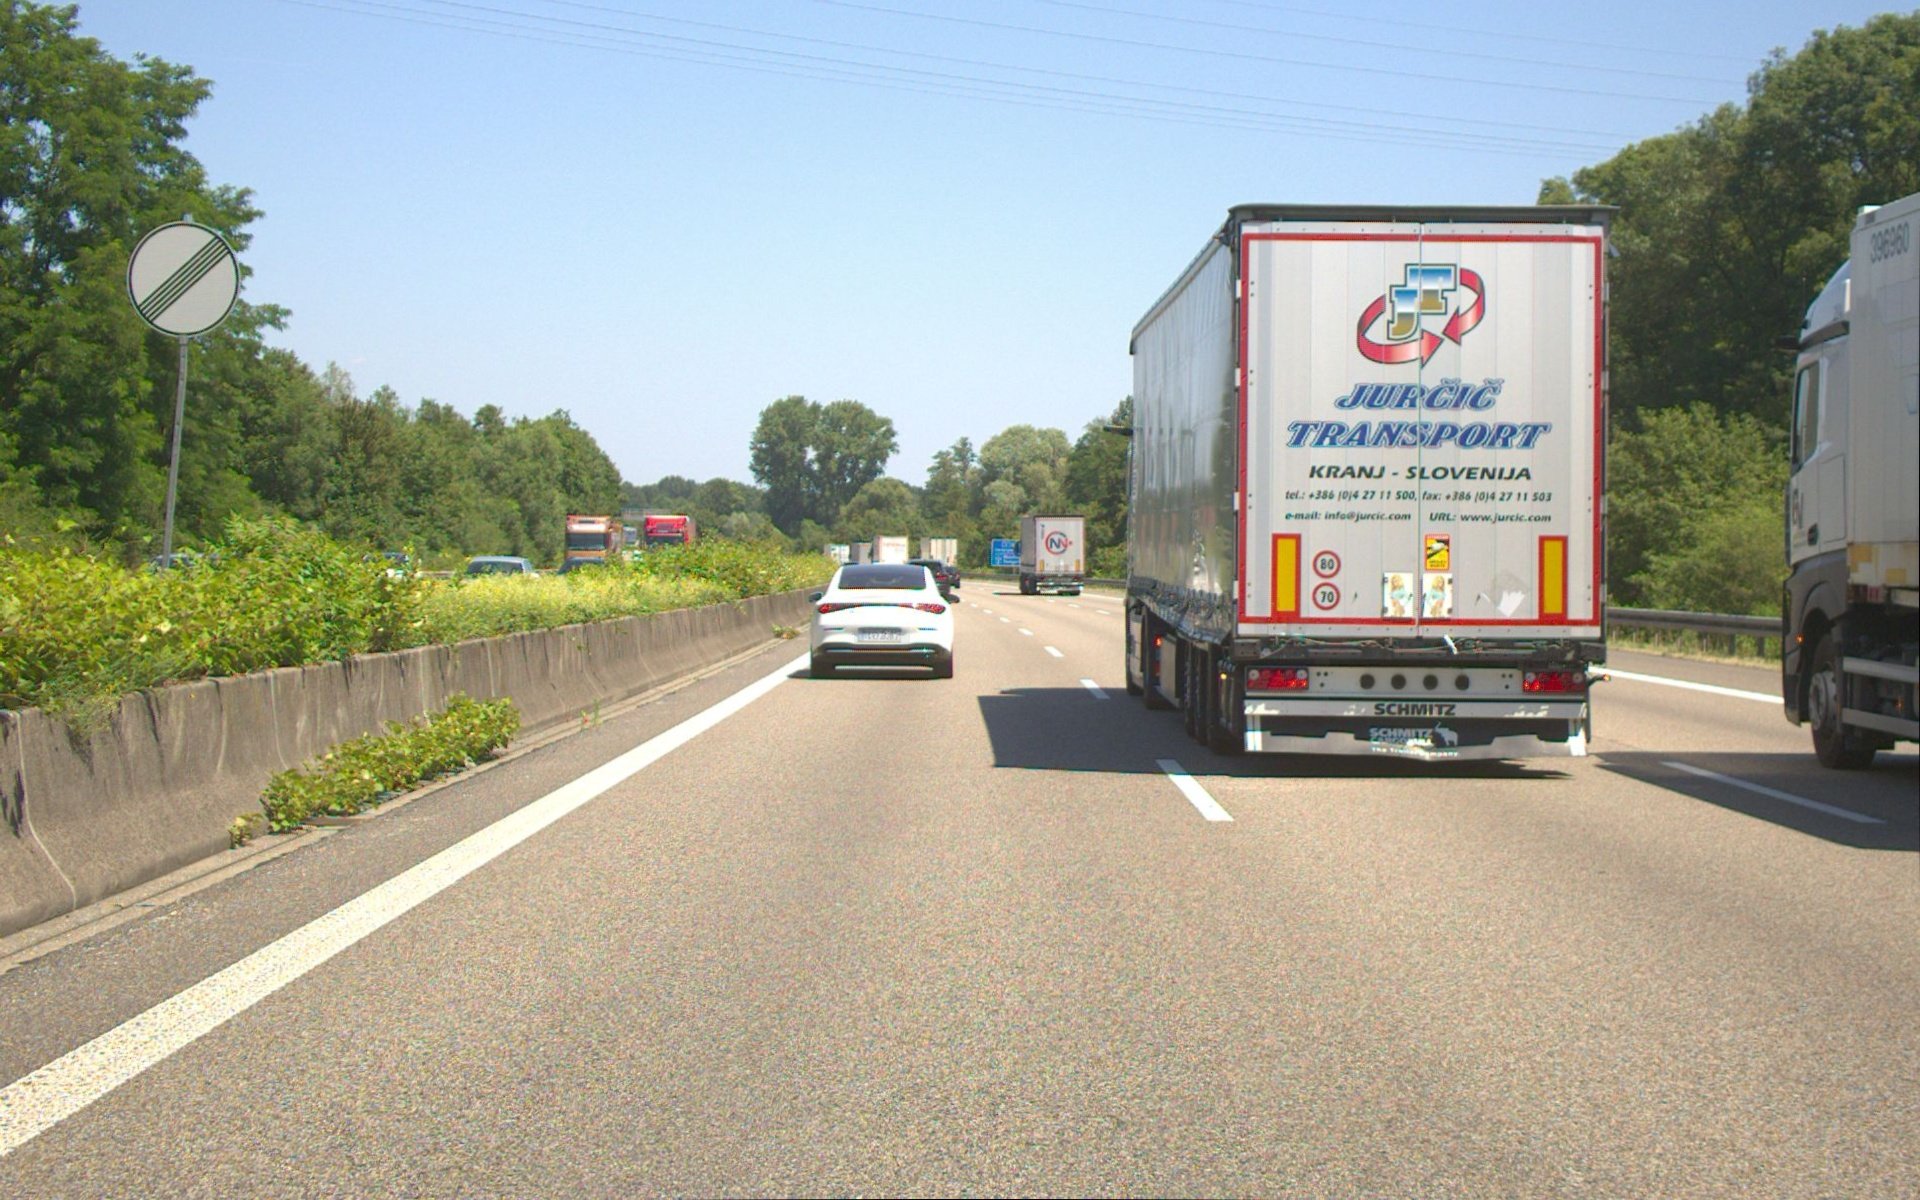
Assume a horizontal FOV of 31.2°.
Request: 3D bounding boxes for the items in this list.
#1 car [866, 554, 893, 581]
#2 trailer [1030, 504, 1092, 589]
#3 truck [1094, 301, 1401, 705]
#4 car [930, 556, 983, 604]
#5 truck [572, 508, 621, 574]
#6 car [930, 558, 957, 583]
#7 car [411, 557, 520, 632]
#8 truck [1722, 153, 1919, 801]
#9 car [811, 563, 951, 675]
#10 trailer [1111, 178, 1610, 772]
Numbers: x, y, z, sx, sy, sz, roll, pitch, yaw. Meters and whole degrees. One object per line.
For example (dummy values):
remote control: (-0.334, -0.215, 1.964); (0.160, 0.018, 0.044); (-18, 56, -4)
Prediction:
car: (-5.405, -2.168, 230.955); (1.723, 1.777, 4.000); (1, 1, -1)
trailer: (5.225, -2.758, 180.267); (2.624, 4.246, 14.061); (1, 1, -1)
truck: (2.979, -0.996, 37.320); (2.722, 3.961, 6.501); (1, 1, 0)
car: (-0.147, -0.793, 133.584); (1.993, 1.766, 4.000); (1, 1, 0)
truck: (-20.172, -3.264, 190.951); (2.356, 3.589, 4.164); (1, 1, -2)
car: (-1.079, -1.950, 225.410); (1.723, 1.580, 4.000); (1, 1, -1)
car: (-11.018, -0.137, 76.795); (1.993, 1.590, 4.001); (1, 1, -2)
truck: (7.346, -0.772, 21.823); (2.526, 4.116, 10.669); (1, 1, 0)
car: (-0.981, 0.219, 44.284); (1.715, 1.365, 3.375); (1, 1, 0)
trailer: (2.995, -0.914, 30.001); (2.740, 3.961, 13.654); (1, 1, 0)
